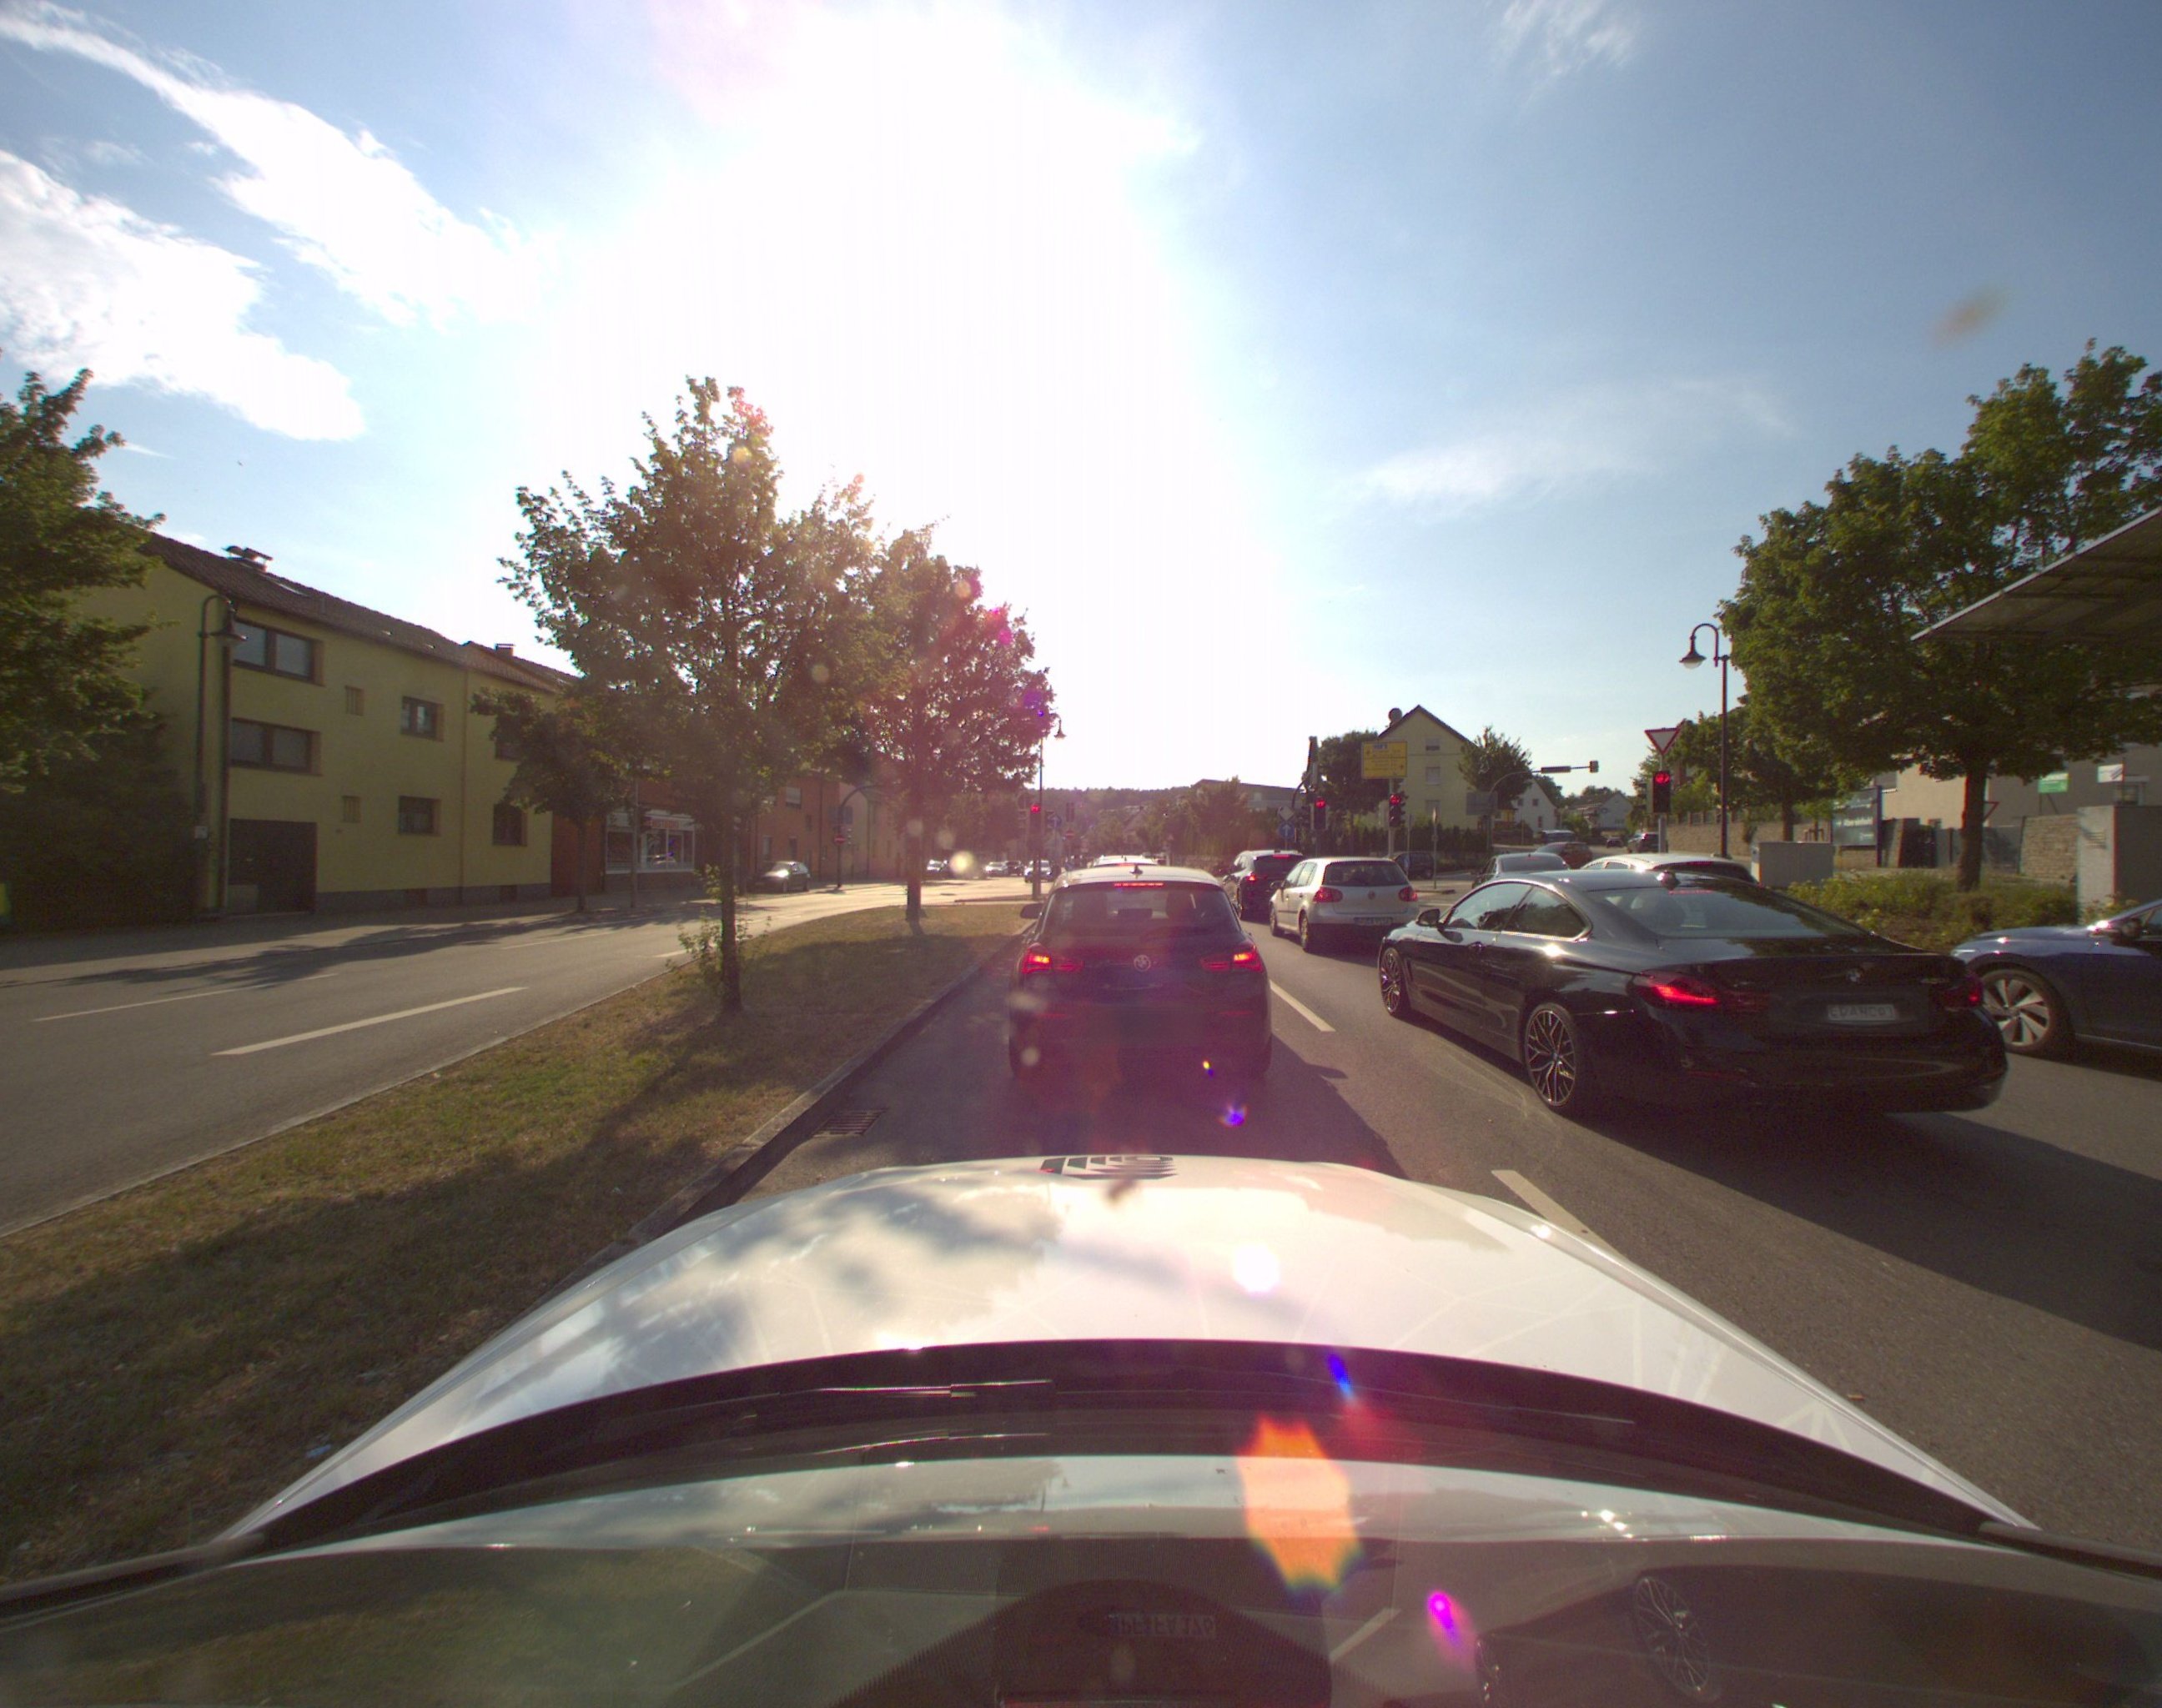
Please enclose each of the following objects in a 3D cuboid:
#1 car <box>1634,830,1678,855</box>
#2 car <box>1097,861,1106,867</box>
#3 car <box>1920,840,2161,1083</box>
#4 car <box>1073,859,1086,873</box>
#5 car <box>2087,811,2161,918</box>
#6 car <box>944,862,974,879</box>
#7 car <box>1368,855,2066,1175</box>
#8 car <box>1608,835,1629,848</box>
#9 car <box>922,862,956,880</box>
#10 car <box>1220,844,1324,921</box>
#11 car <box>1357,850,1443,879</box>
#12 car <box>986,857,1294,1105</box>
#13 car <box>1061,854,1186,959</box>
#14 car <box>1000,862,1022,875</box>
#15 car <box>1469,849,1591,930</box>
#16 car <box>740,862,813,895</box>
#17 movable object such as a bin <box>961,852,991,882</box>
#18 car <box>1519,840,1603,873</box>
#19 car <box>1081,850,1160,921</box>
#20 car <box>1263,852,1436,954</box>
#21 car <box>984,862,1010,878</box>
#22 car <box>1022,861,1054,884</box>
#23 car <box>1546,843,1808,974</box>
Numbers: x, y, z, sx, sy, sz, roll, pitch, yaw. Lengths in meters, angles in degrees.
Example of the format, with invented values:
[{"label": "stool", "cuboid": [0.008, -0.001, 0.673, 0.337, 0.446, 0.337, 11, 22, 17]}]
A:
[{"label": "car", "cuboid": [41.916, -0.818, 59.474, 1.946, 1.680, 4.240, -2, 0, 26]}, {"label": "car", "cuboid": [5.051, 2.328, 199.080, 1.729, 1.301, 3.804, 4, 0, 5]}, {"label": "car", "cuboid": [7.414, 0.644, 4.256, 1.754, 1.453, 4.323, -2, 0, 4]}, {"label": "car", "cuboid": [-0.200, 2.085, 141.917, 2.076, 2.394, 5.531, 0, -1, 2]}, {"label": "car", "cuboid": [18.495, 0.150, 12.385, 3.793, 1.632, 1.784, 0, 0, 10]}, {"label": "car", "cuboid": [-11.050, 1.465, 73.749, 1.729, 1.301, 4.005, 4, 0, 5]}, {"label": "car", "cuboid": [3.620, 0.732, 5.824, 1.755, 1.397, 4.283, -2, 0, 2]}, {"label": "car", "cuboid": [72.840, -1.637, 110.271, 1.946, 1.680, 4.242, -2, 0, 39]}, {"label": "car", "cuboid": [-11.737, 1.420, 67.597, 1.728, 1.301, 4.006, 4, 0, 6]}, {"label": "car", "cuboid": [4.571, 0.643, 20.046, 1.755, 1.656, 3.905, -2, 0, 2]}, {"label": "car", "cuboid": [17.350, 0.563, 44.360, 3.974, 1.489, 1.848, 0, 0, -1]}, {"label": "car", "cuboid": [0.443, 0.766, 6.969, 1.781, 1.397, 4.283, -2, 0, 2]}, {"label": "car", "cuboid": [0.721, 0.774, 14.113, 1.781, 1.494, 4.283, -2, 0, 2]}, {"label": "car", "cuboid": [-7.832, 1.587, 91.130, 1.729, 1.301, 3.804, 4, 0, 5]}, {"label": "car", "cuboid": [9.884, 0.706, 18.238, 1.642, 1.542, 4.420, -2, 0, 19]}, {"label": "car", "cuboid": [-14.135, 1.109, 38.035, 1.730, 1.301, 4.002, 4, 0, 2]}, {"label": "movable object such as a bin", "cuboid": [-8.923, 1.114, 69.242, 1.729, 2.442, 4.452, -1, 0, 3]}, {"label": "car", "cuboid": [24.821, 0.125, 42.072, 4.444, 1.641, 1.830, 0, 0, -31]}, {"label": "car", "cuboid": [1.023, 0.734, 21.152, 1.781, 1.594, 4.283, -2, 0, 2]}, {"label": "car", "cuboid": [4.323, 0.709, 13.764, 1.755, 1.426, 3.905, -2, 0, 2]}, {"label": "car", "cuboid": [-8.180, 1.538, 79.500, 1.729, 1.301, 3.804, 4, 0, 5]}, {"label": "car", "cuboid": [-2.948, 1.233, 56.535, 1.832, 1.482, 4.002, -1, 0, 2]}, {"label": "car", "cuboid": [8.112, 0.664, 11.465, 1.608, 1.542, 3.326, -2, 0, 9]}]
